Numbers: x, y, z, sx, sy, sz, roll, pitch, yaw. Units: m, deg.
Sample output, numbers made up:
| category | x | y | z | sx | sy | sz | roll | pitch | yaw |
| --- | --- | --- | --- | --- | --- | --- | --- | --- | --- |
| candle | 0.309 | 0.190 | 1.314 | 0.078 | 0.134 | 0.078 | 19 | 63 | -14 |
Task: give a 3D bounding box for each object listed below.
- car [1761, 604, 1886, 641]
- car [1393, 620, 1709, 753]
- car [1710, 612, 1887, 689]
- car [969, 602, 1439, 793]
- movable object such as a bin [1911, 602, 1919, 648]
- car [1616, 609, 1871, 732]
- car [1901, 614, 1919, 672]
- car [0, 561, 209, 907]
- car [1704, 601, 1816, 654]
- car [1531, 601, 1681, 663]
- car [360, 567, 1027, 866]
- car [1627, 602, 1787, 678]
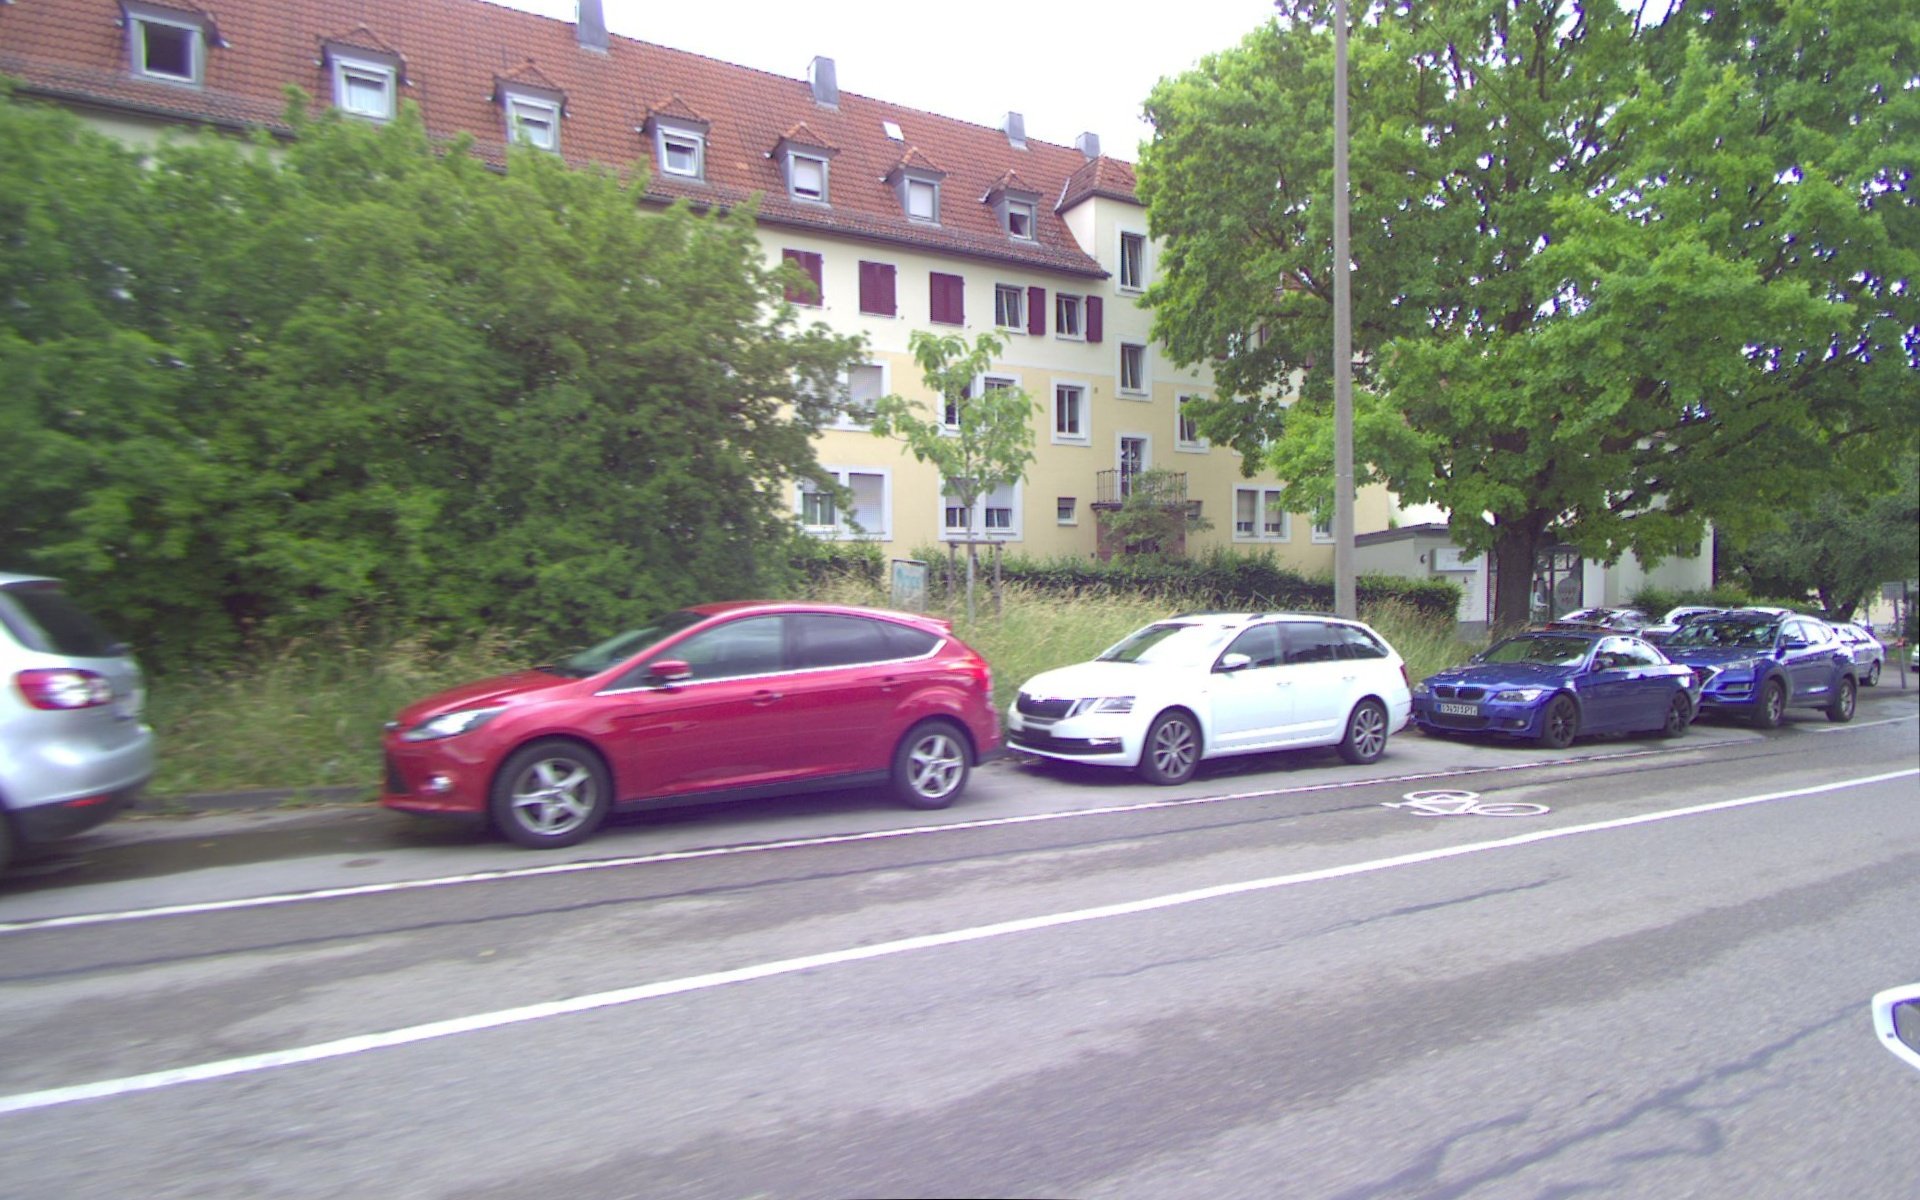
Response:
| category | x | y | z | sx | sy | sz | roll | pitch | yaw |
| --- | --- | --- | --- | --- | --- | --- | --- | --- | --- |
| car | 48.250 | 1.242 | 56.243 | 1.980 | 1.838 | 4.959 | 1 | 1 | -35 |
| car | 7.667 | 1.011 | 12.923 | 4.290 | 1.408 | 1.706 | 1 | 0 | -32 |
| car | 19.352 | 1.119 | 23.140 | 4.341 | 1.556 | 1.752 | 1 | 1 | -31 |
| car | 2.532 | 0.828 | 9.946 | 4.704 | 1.479 | 1.706 | 2 | 0 | -32 |
| movable object such as a bin | 41.448 | 1.074 | 42.391 | 2.992 | 1.929 | 1.210 | 1 | 1 | -33 |
| car | 12.411 | 1.021 | 15.843 | 4.484 | 1.634 | 1.706 | 1 | 1 | -32 |
| car | 30.192 | 1.315 | 30.109 | 4.701 | 1.655 | 1.751 | 1 | 1 | -33 |
| car | -6.133 | 0.564 | 4.631 | 4.074 | 1.594 | 1.858 | 2 | 0 | -32 |
| car | 27.327 | 0.922 | 34.273 | 4.243 | 1.655 | 1.751 | 1 | 1 | -34 |
| car | 17.756 | 0.854 | 27.566 | 4.392 | 1.490 | 1.751 | 1 | 3 | -33 |
| car | -1.781 | 0.654 | 7.222 | 4.322 | 1.594 | 1.706 | 2 | 0 | -32 |
| car | 18.736 | 0.967 | 25.157 | 3.954 | 1.655 | 1.752 | 1 | 3 | -31 |
